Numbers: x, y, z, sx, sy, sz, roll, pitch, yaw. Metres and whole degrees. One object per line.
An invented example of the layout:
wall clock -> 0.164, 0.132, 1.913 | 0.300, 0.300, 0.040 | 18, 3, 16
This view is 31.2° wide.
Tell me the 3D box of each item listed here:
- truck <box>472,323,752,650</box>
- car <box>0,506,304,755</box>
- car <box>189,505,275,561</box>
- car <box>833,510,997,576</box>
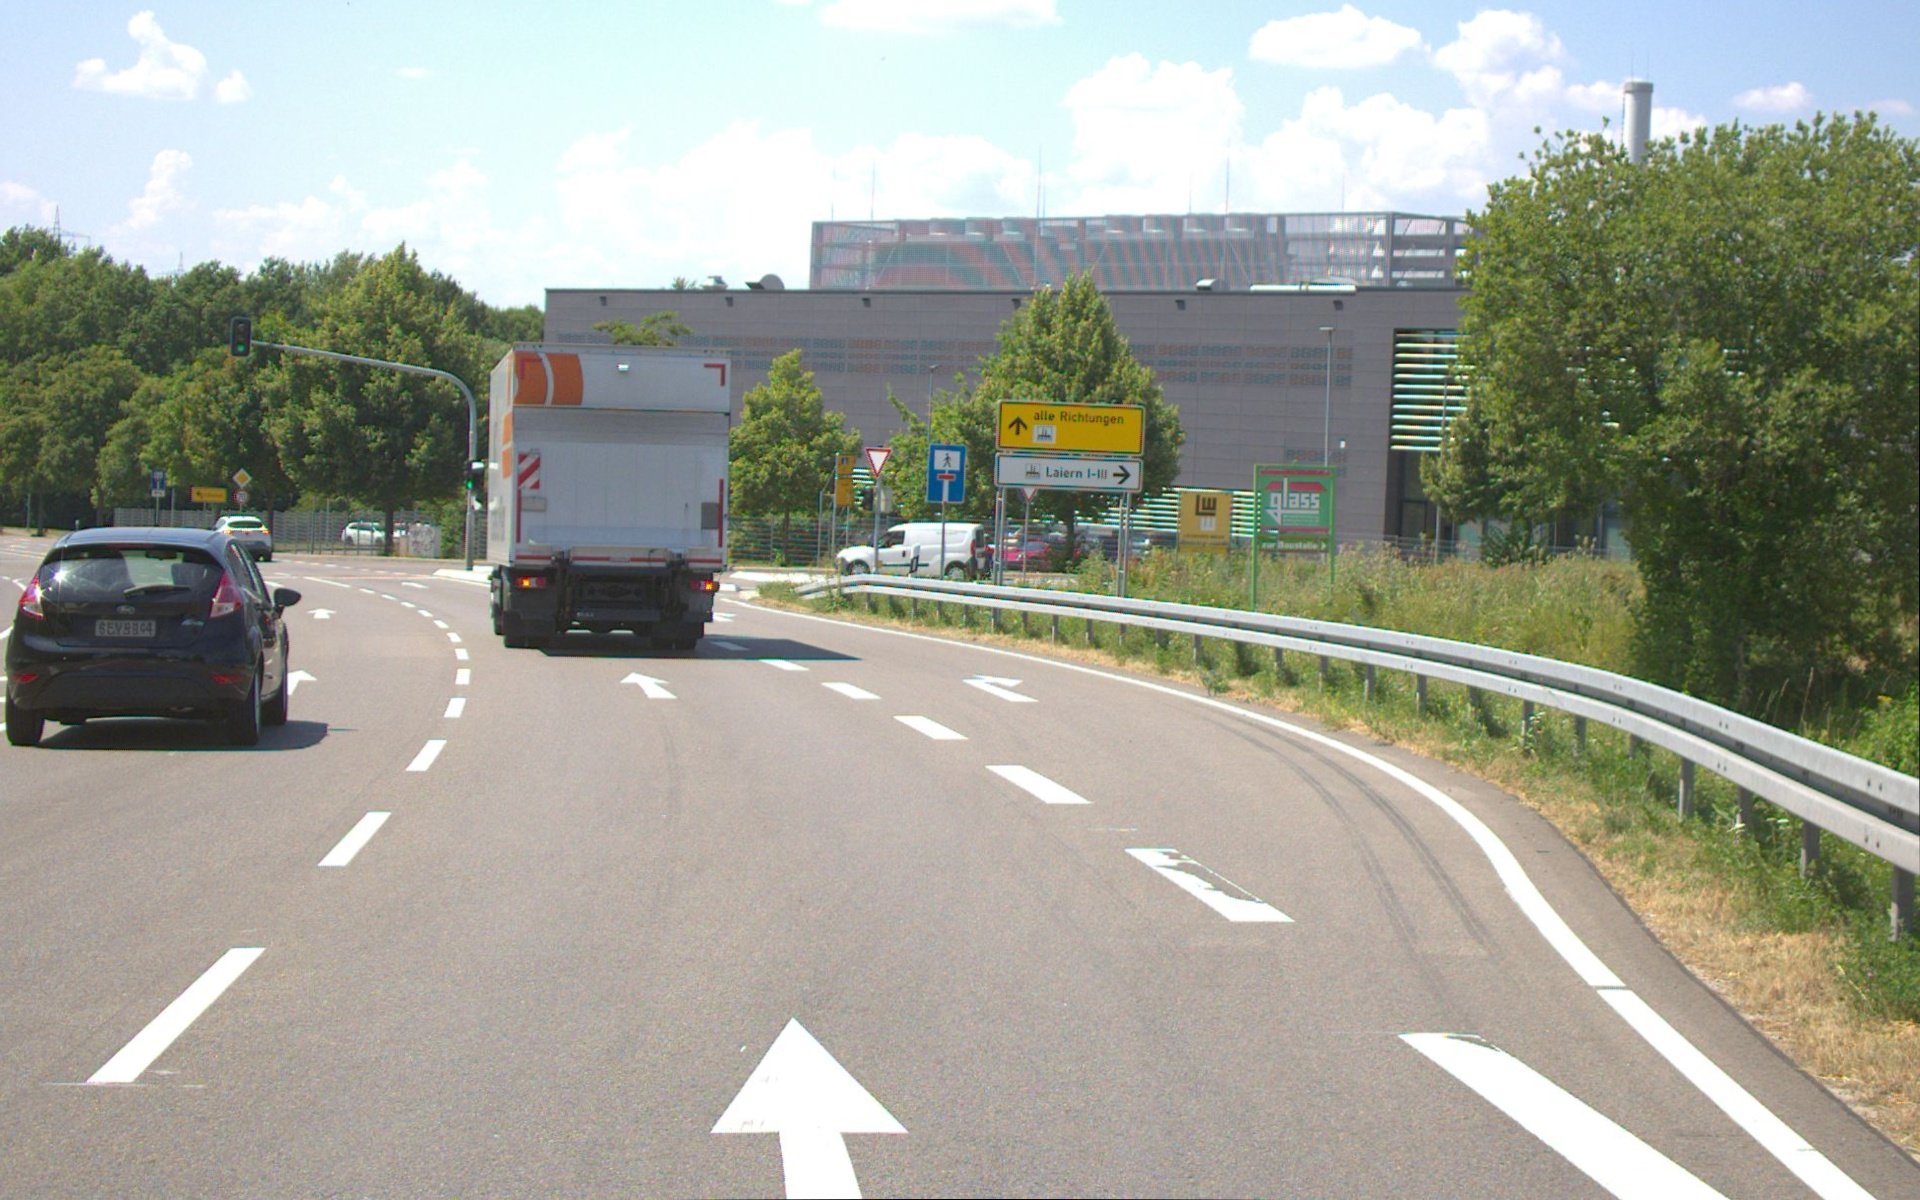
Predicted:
truck -> -4.646, -1.471, 44.200 | 2.803, 3.698, 9.111 | 1, 2, -10
car -> -5.672, 0.144, 24.490 | 1.652, 1.488, 4.209 | 2, 3, -7
car -> -24.481, -2.261, 115.519 | 1.943, 1.658, 4.001 | 4, 1, -24
car -> -1.390, -1.768, 107.053 | 4.747, 1.925, 2.152 | 1, 1, 12
